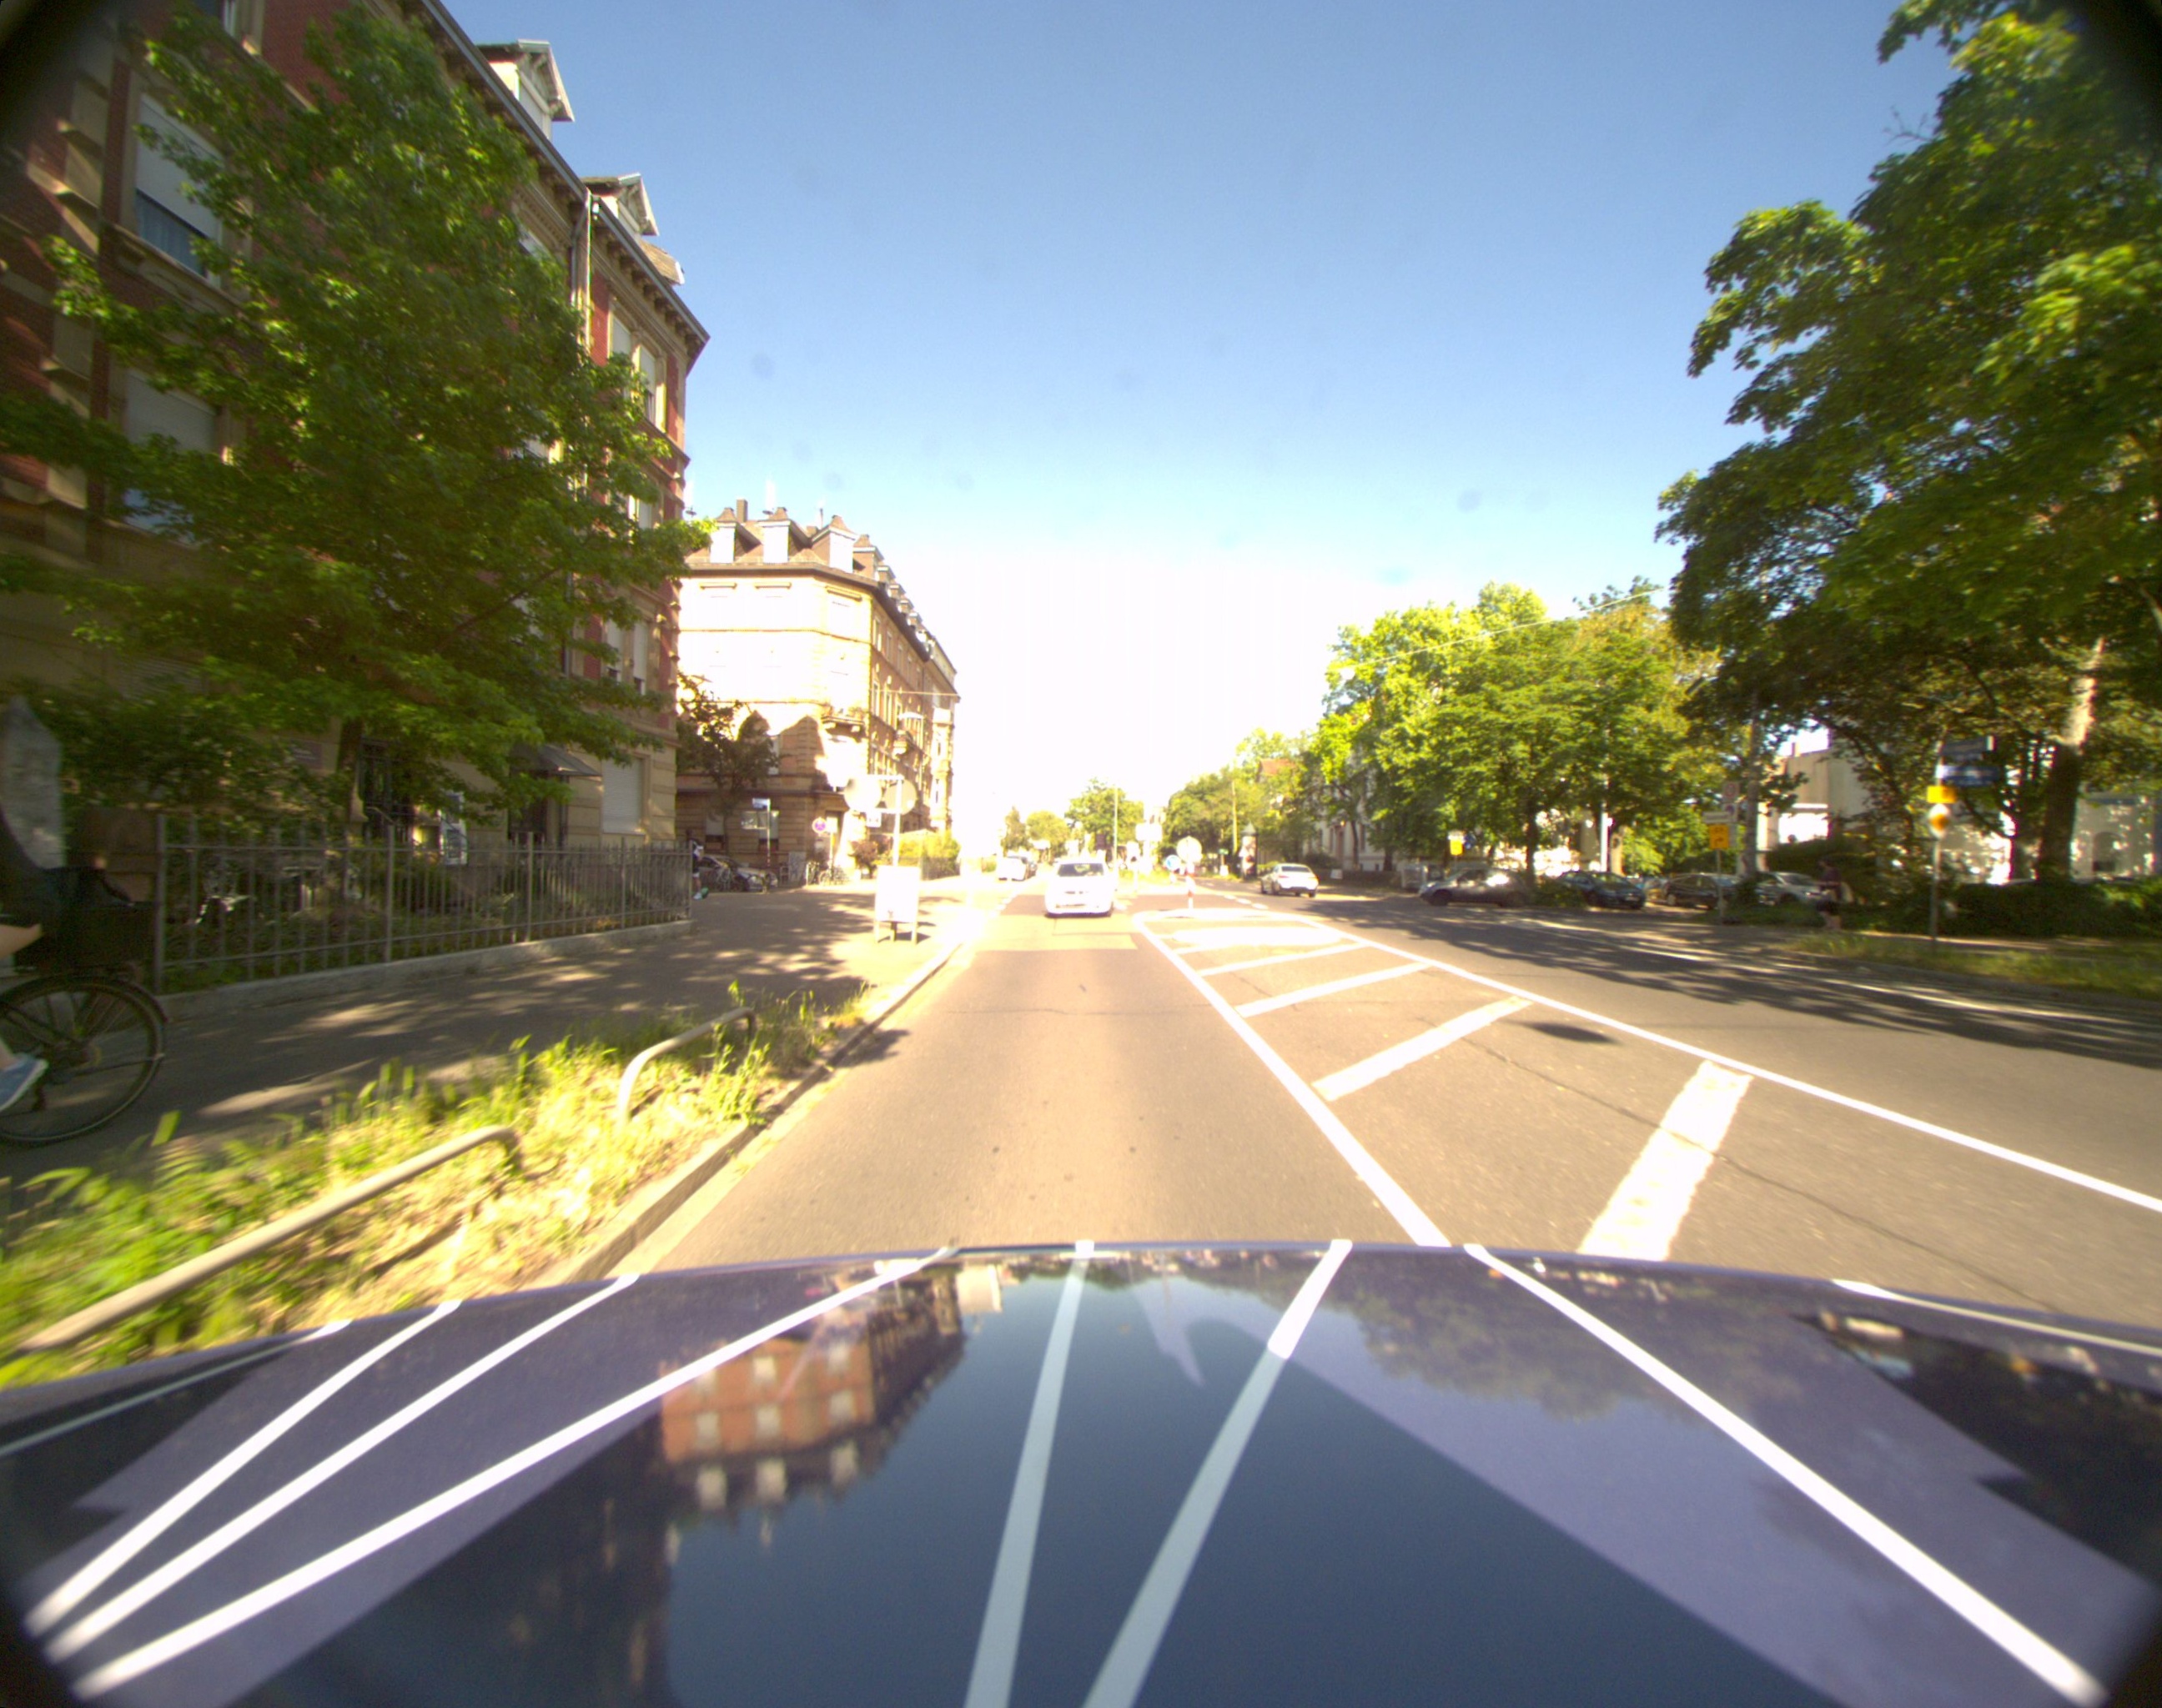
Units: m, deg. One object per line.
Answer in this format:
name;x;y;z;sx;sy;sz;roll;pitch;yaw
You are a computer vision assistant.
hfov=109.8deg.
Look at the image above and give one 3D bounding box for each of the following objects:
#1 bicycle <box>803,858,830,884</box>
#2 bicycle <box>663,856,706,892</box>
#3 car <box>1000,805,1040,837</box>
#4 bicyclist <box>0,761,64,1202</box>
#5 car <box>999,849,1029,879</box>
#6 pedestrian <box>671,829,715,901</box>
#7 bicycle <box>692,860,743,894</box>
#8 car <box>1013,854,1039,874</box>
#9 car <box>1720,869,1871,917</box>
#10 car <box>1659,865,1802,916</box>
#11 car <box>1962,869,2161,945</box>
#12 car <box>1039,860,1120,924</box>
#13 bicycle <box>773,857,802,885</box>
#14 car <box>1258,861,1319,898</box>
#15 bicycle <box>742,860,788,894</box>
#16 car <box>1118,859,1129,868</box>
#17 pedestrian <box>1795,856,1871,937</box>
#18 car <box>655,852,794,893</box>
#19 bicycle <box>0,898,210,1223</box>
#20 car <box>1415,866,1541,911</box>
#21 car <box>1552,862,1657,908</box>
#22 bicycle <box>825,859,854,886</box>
bicycle;-12.124;0.770;34.920;0.585;1.128;2.018;2;1;-3
bicycle;-13.702;0.705;26.315;0.634;1.178;2.018;1;-2;-7
car;-3.250;-1.735;41.062;1.846;1.432;4.105;3;0;-1
bicyclist;-4.396;0.470;2.556;0.647;1.685;0.889;4;0;-2
car;-4.414;0.653;50.415;1.693;1.862;3.561;2;0;-1
pedestrian;-10.329;0.285;20.246;0.766;1.882;0.694;2;2;5
bicycle;-12.546;0.788;26.285;0.584;1.127;2.021;1;-1;8
car;-4.844;0.875;67.848;1.893;1.679;4.700;0;0;1
car;28.437;1.489;30.491;1.892;1.679;4.702;2;0;6
car;25.876;1.400;30.532;1.892;1.679;4.700;1;1;4
car;25.854;1.272;19.413;1.891;1.679;4.704;2;0;12
car;0.055;0.920;20.045;1.652;1.449;3.899;2;0;7
bicycle;-13.451;0.759;34.884;0.585;1.128;2.018;2;2;-2
car;9.233;1.088;34.108;1.808;1.485;4.715;1;0;5
bicycle;-11.066;0.799;26.579;2.013;1.127;0.586;-1;-3;41
car;7.465;1.691;133.665;1.594;1.420;3.715;2;1;-1
pedestrian;16.588;0.912;16.770;0.872;1.745;0.820;0;0;-8
car;-13.852;0.697;29.693;4.416;1.409;2.048;2;0;4
bicycle;-4.422;0.810;2.632;0.654;1.169;1.842;4;0;-2
car;14.635;1.237;28.215;3.773;1.482;1.846;2;0;15
car;21.289;1.191;31.160;1.891;1.679;4.704;2;0;12
bicycle;-11.059;0.841;34.893;0.735;1.128;2.018;1;2;-2
